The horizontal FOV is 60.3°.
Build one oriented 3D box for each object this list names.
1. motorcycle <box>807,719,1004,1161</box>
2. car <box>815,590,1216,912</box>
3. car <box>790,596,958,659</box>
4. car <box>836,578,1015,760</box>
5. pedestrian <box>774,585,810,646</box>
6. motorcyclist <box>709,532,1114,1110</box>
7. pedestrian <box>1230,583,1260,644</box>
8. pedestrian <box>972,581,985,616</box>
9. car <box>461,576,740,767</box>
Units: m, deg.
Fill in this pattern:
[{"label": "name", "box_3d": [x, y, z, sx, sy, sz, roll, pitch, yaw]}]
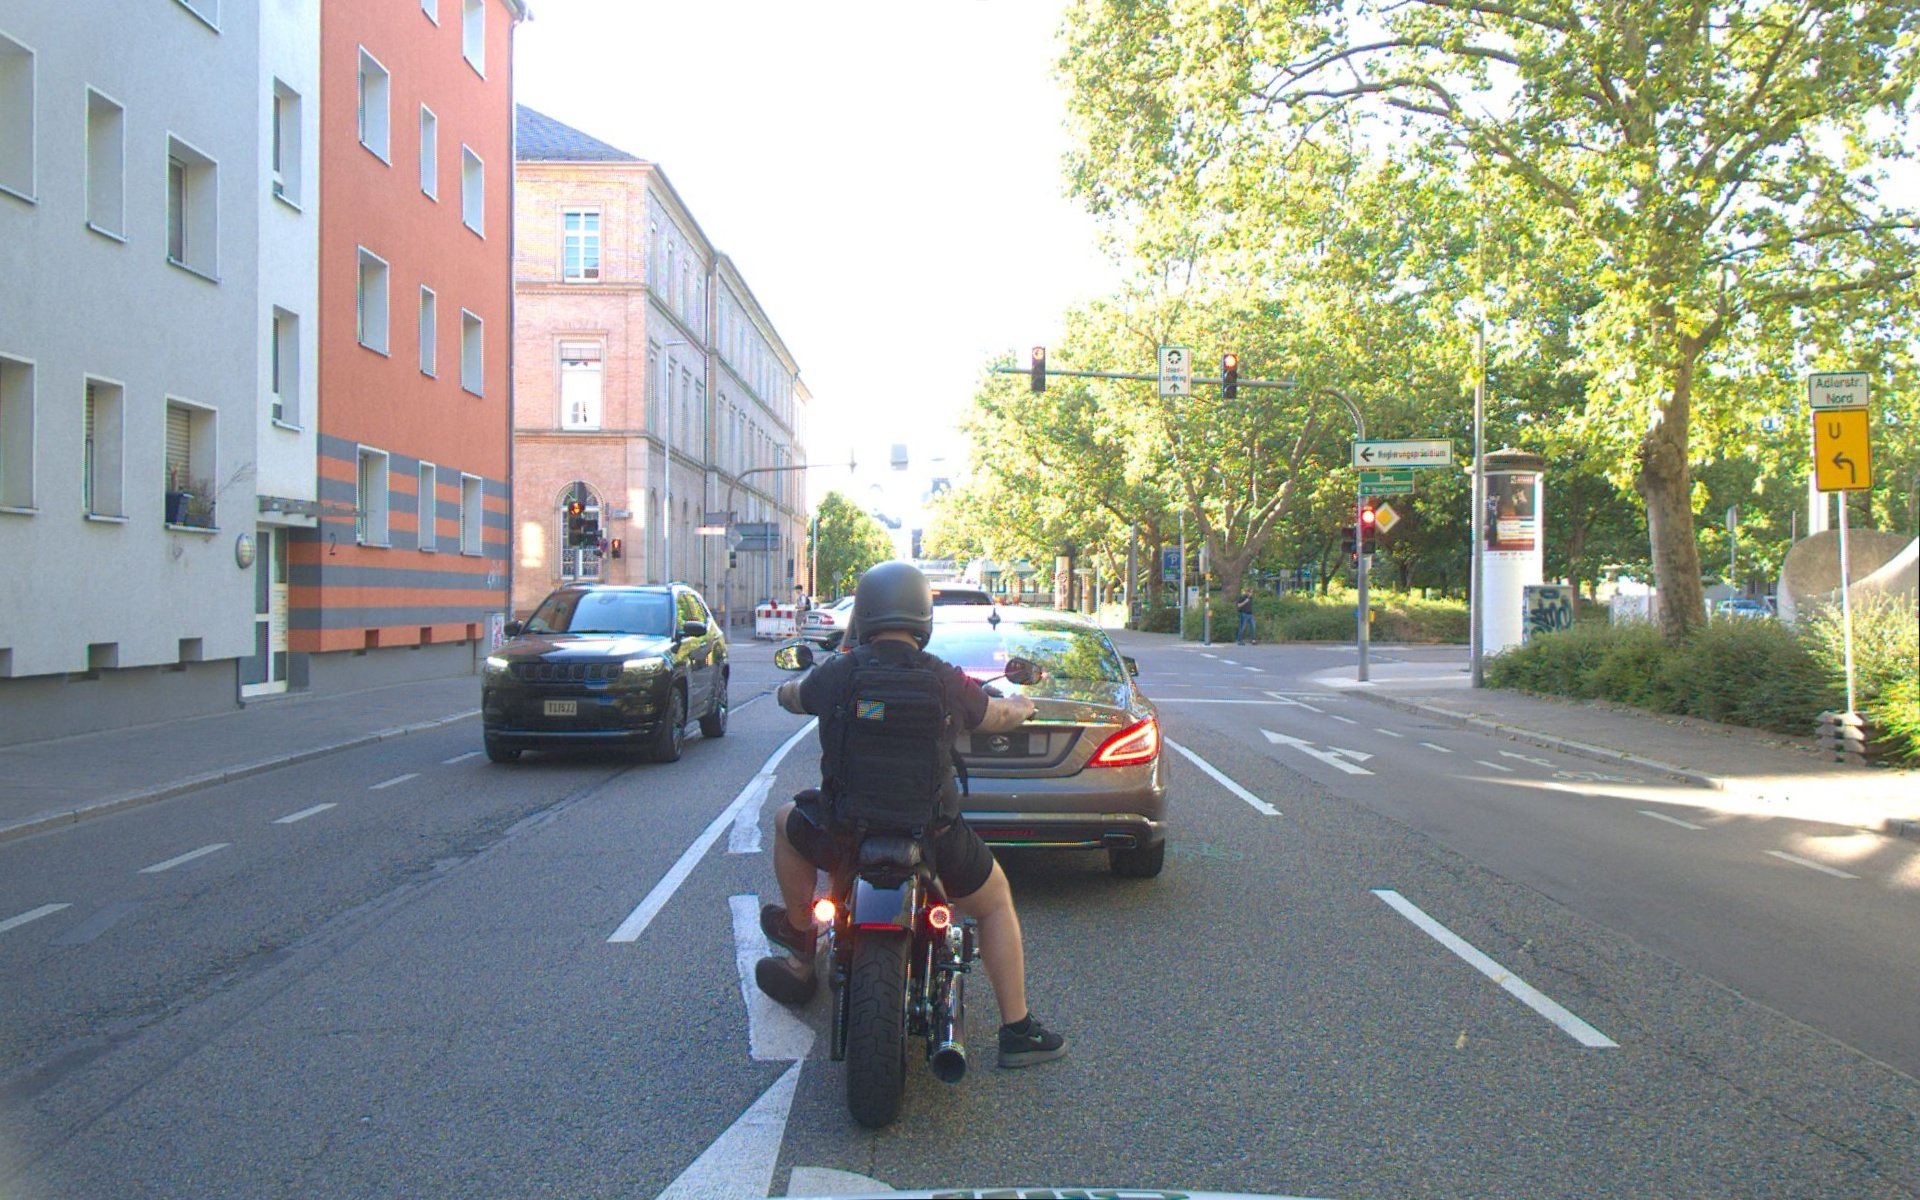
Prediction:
[{"label": "motorcycle", "box_3d": [-0.158, 0.970, 5.371, 0.503, 1.020, 2.013, 1, 0, -1]}, {"label": "car", "box_3d": [0.234, 0.695, 9.616, 1.844, 1.475, 3.819, 1, 0, -1]}, {"label": "car", "box_3d": [-2.249, 0.729, 43.723, 4.083, 1.602, 1.837, 1, 0, -33]}, {"label": "car", "box_3d": [-0.332, 0.608, 16.725, 1.588, 1.622, 3.999, 0, 0, -1]}, {"label": "pedestrian", "box_3d": [-5.202, 0.489, 51.327, 0.981, 1.858, 1.076, 1, -1, 0]}, {"label": "motorcyclist", "box_3d": [-0.145, 0.632, 5.350, 1.125, 1.626, 1.288, 1, 0, -1]}, {"label": "pedestrian", "box_3d": [9.198, 0.437, 53.321, 0.903, 1.943, 0.752, 1, -1, 11]}, {"label": "pedestrian", "box_3d": [1.142, -0.075, 100.893, 0.748, 2.087, 0.712, 1, -1, -1]}, {"label": "car", "box_3d": [-3.358, 0.623, 16.309, 1.812, 1.597, 4.384, 1, 0, -1]}]
